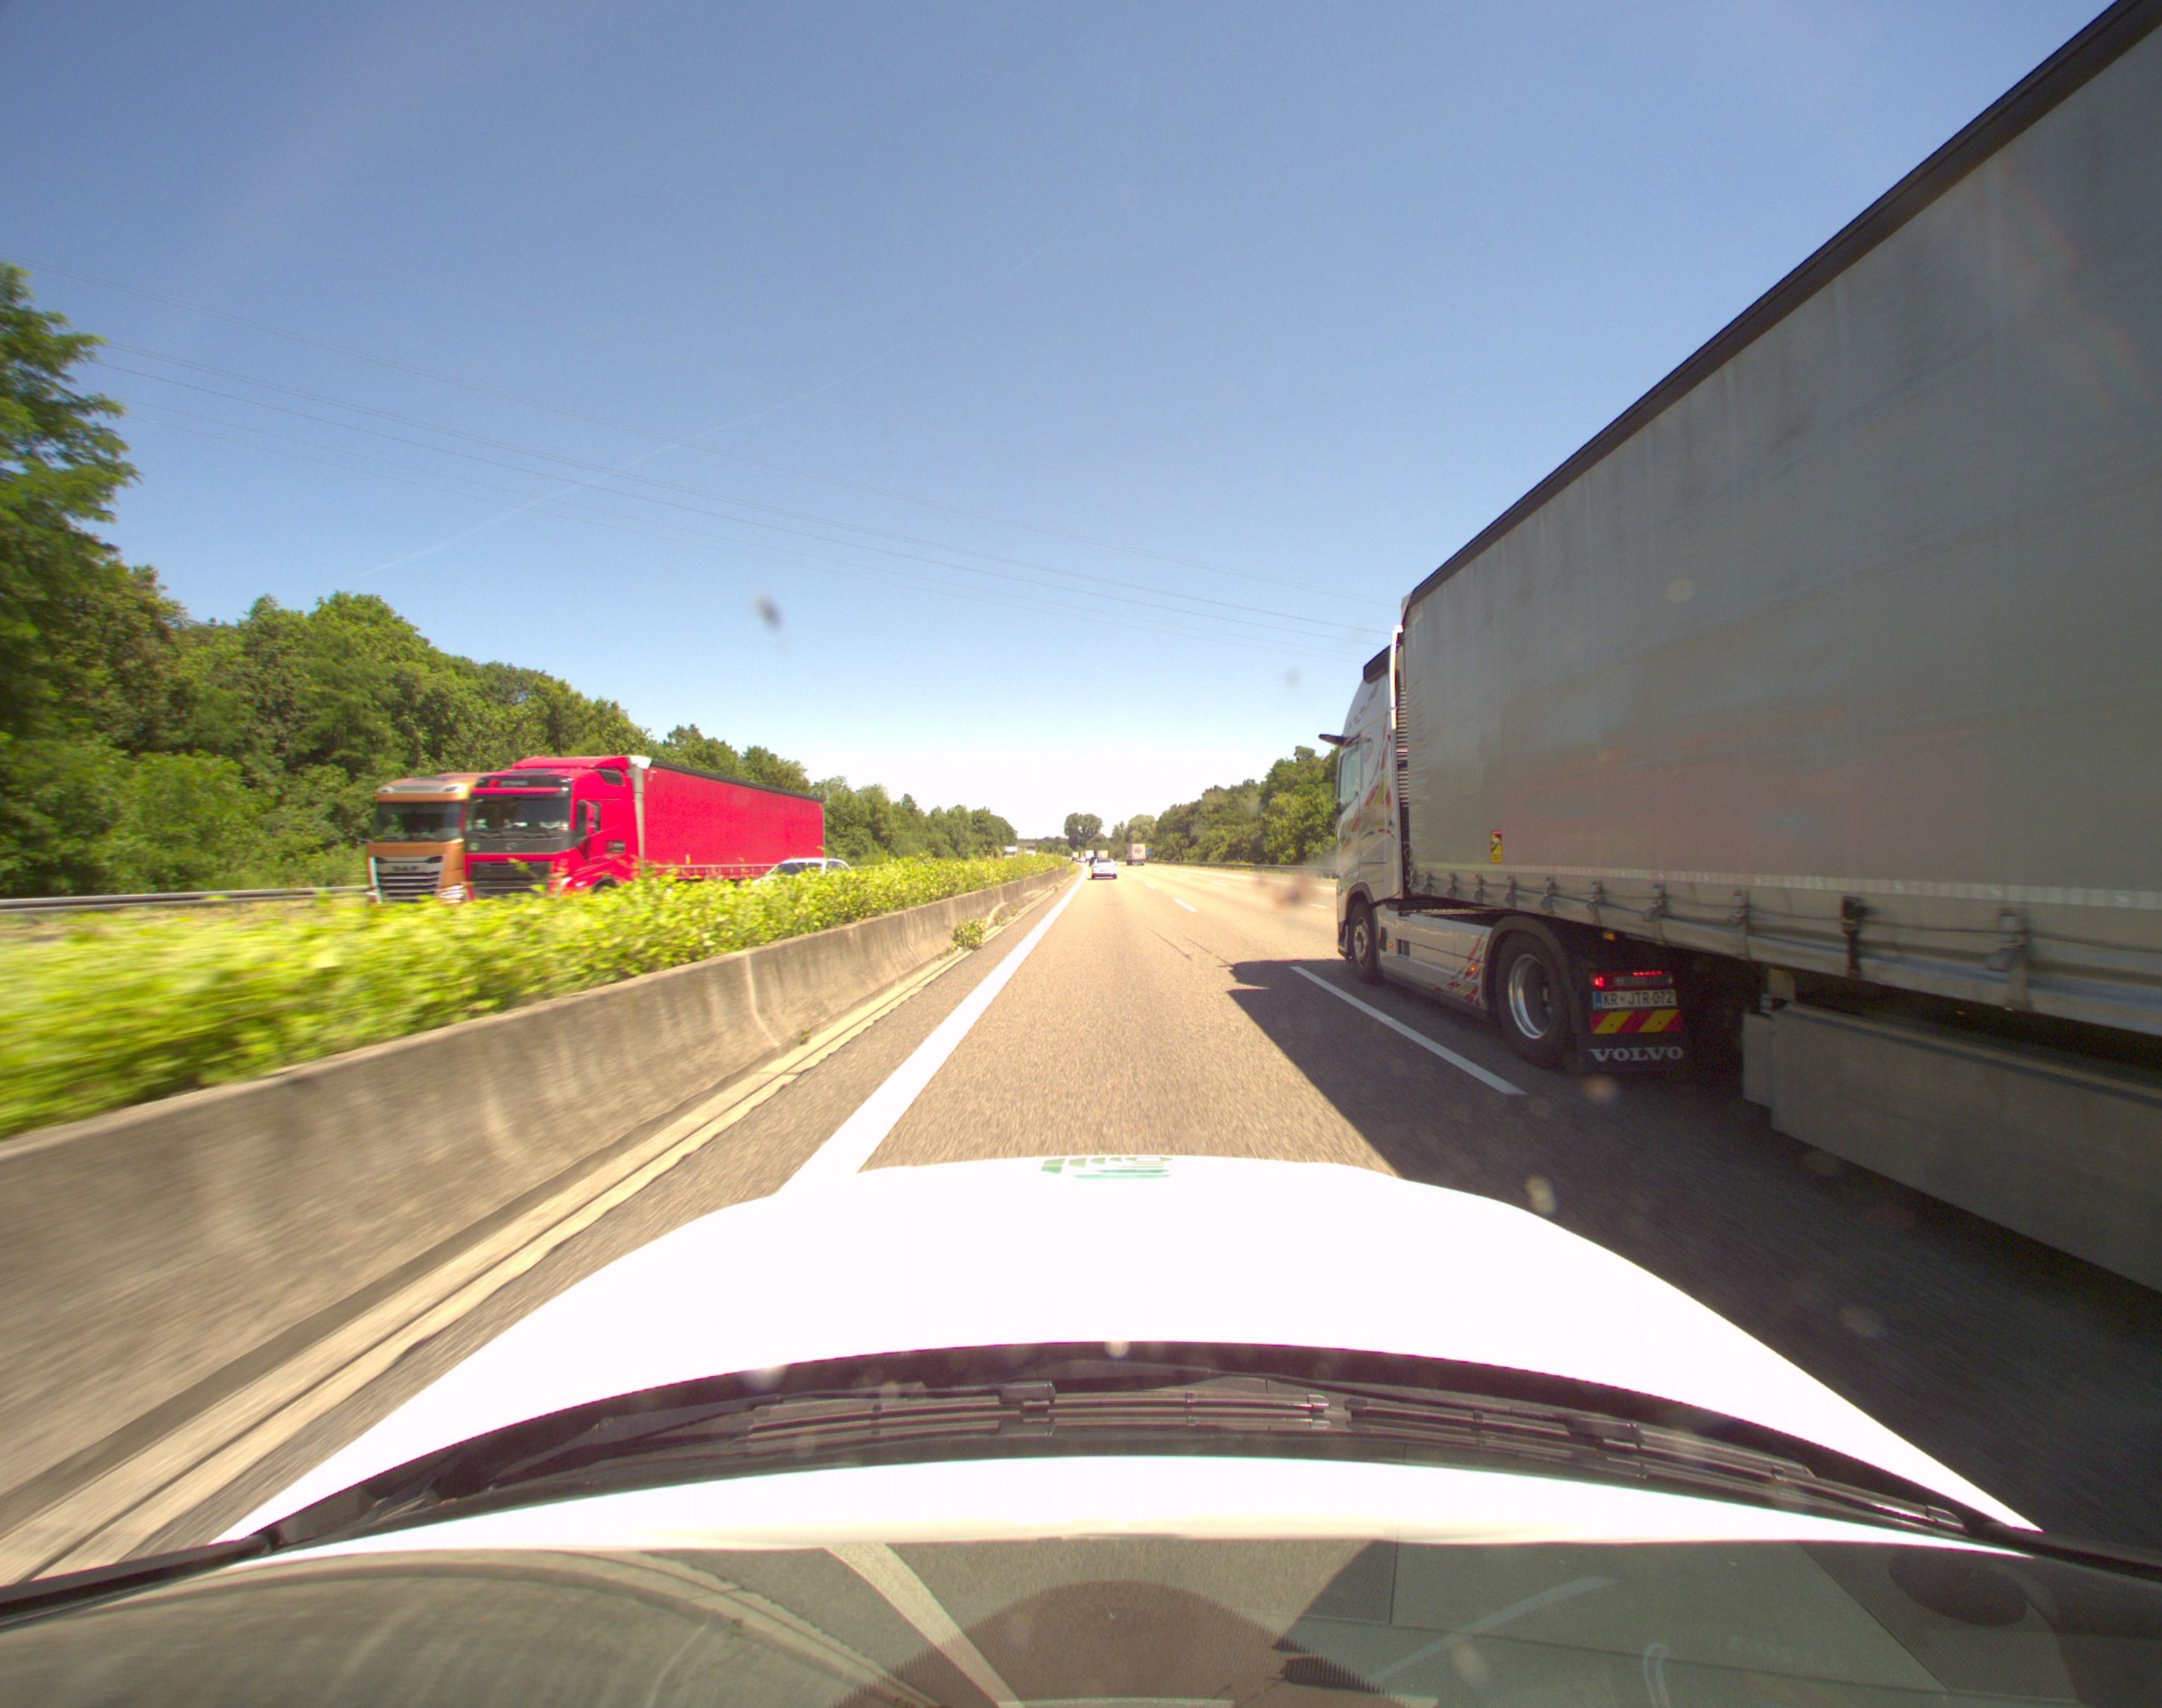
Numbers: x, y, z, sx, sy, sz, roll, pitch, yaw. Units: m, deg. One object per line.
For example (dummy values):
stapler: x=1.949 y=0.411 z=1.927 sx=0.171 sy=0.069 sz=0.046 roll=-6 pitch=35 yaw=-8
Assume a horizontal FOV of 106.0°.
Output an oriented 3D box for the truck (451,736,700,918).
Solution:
truck: x=-11.965 y=-0.561 z=19.978 sx=2.457 sy=3.788 sz=5.729 roll=-1 pitch=0 yaw=0

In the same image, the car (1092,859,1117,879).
car: x=1.669 y=1.020 z=57.966 sx=1.708 sy=1.369 sz=3.377 roll=-1 pitch=0 yaw=3

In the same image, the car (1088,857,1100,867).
car: x=2.308 y=1.354 z=141.316 sx=1.987 sy=1.772 sz=3.999 roll=-1 pitch=0 yaw=0

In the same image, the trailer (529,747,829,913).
trailer: x=-11.855 y=-0.548 z=26.723 sx=2.457 sy=3.935 sz=14.402 roll=-1 pitch=0 yaw=1

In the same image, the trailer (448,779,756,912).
trailer: x=-15.869 y=-0.214 z=29.263 sx=2.363 sy=3.595 sz=14.223 roll=-1 pitch=0 yaw=1

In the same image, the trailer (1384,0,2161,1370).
trailer: x=4.257 y=-0.603 z=1.445 sx=2.730 sy=3.975 sz=13.659 roll=-1 pitch=0 yaw=2

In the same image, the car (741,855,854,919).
car: x=-7.726 y=0.850 z=22.592 sx=1.689 sy=1.601 sz=4.000 roll=-1 pitch=0 yaw=0

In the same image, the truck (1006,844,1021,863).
truck: x=-14.688 y=-0.073 z=178.312 sx=2.651 sy=3.985 sz=6.555 roll=-1 pitch=0 yaw=1

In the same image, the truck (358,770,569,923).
truck: x=-16.022 y=-0.182 z=21.481 sx=2.349 sy=3.601 sz=4.163 roll=-1 pitch=0 yaw=0

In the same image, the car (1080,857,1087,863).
car: x=0.728 y=1.882 z=248.234 sx=1.722 sy=1.783 sz=3.991 roll=-1 pitch=0 yaw=-6

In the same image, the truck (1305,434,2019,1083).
truck: x=4.467 y=-0.582 z=8.275 sx=2.713 sy=3.975 sz=6.503 roll=-1 pitch=0 yaw=1

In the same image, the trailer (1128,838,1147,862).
trailer: x=10.513 y=-0.742 z=152.127 sx=2.615 sy=4.261 sz=14.060 roll=-1 pitch=0 yaw=1
